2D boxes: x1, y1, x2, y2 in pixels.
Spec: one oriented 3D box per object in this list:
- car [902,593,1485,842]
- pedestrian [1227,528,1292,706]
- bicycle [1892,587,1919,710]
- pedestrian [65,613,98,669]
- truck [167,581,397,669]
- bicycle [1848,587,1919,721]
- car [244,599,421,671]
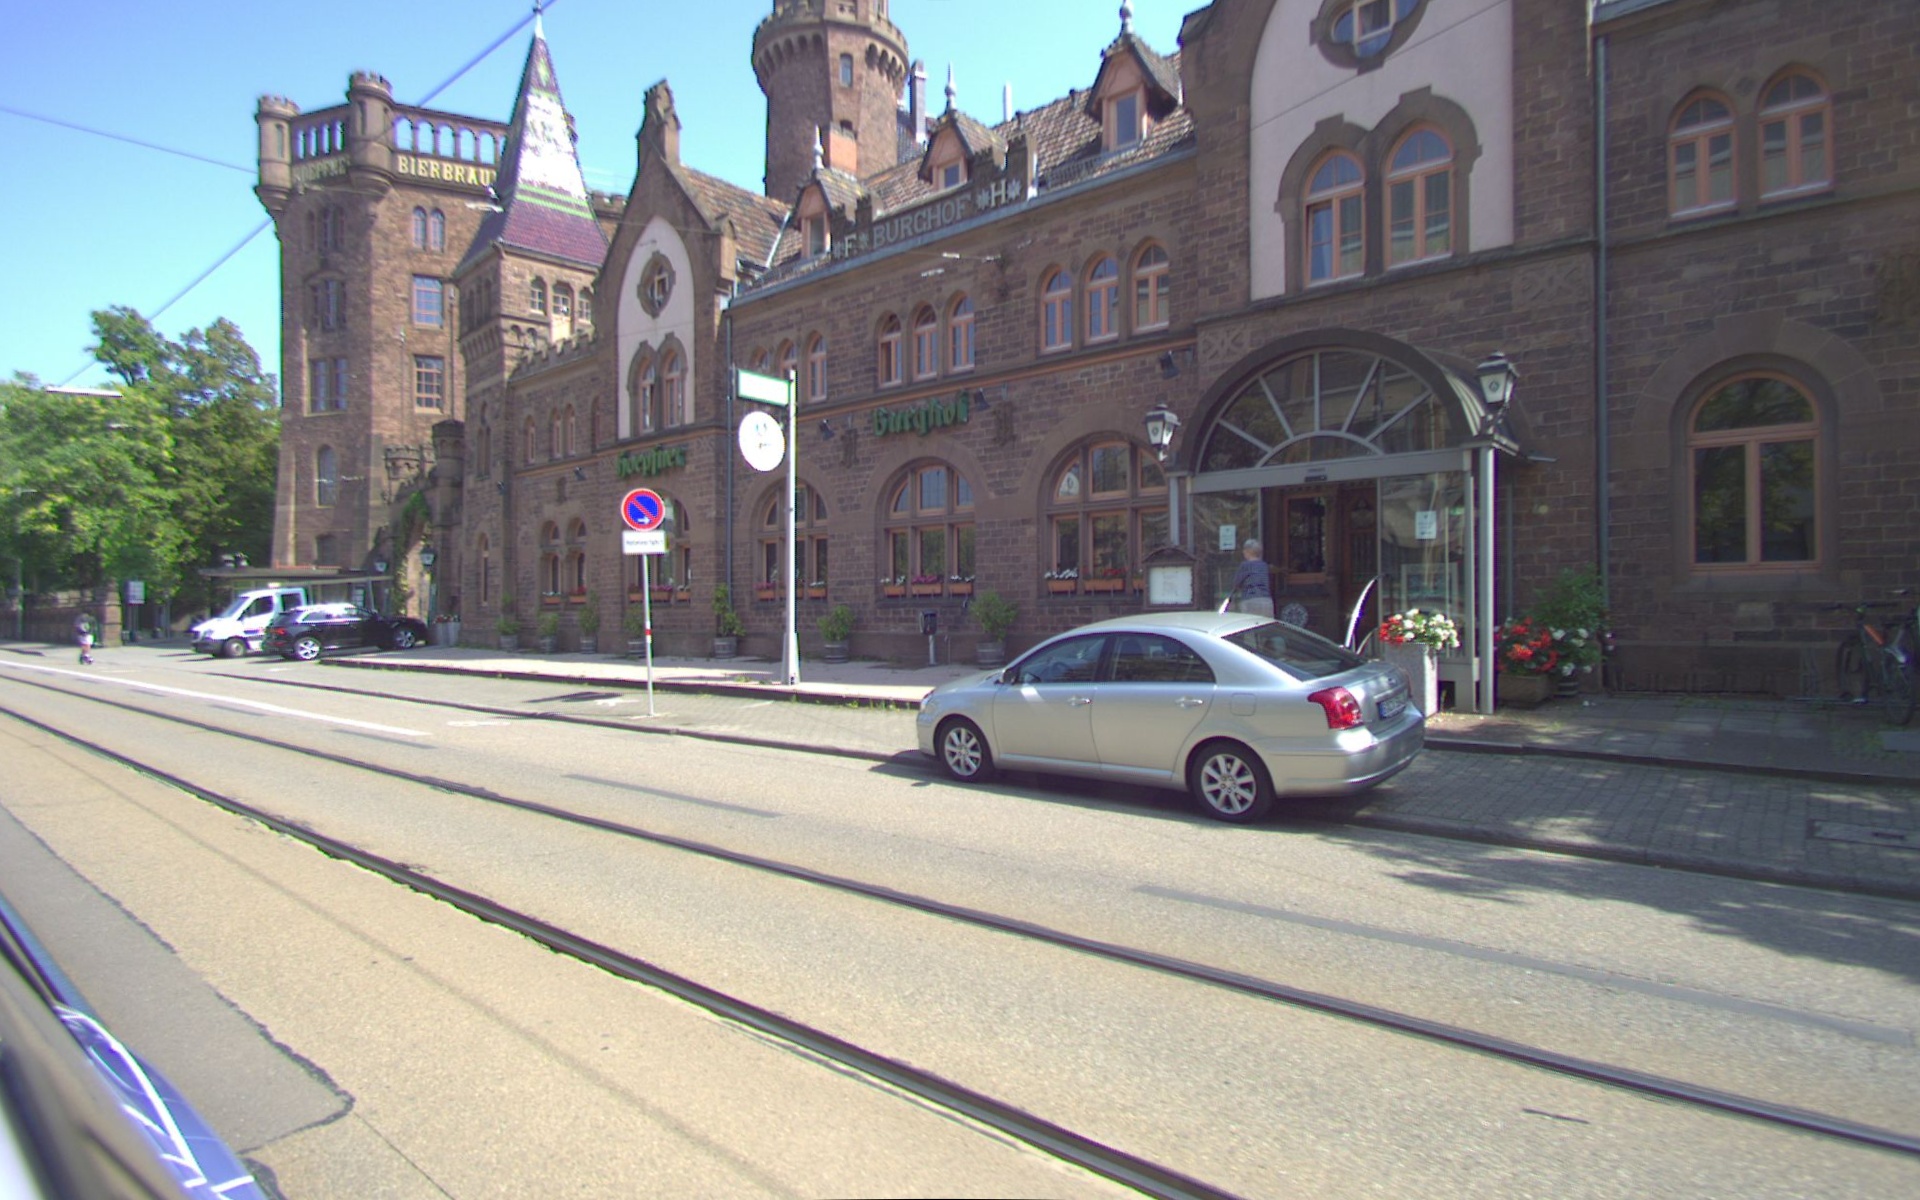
[{"bbox_3d":[1.771,0.788,8.702,4.514,1.513,1.914,-1,1,43],"label":"car"},{"bbox_3d":[3.449,0.189,11.674,0.497,1.995,0.520,-1,0,-15],"label":"pedestrian"},{"bbox_3d":[9.036,0.466,9.306,0.376,1.069,1.435,-1,4,30],"label":"bicycle"},{"bbox_3d":[-29.494,1.363,33.985,0.827,1.862,0.727,-2,-1,41],"label":"pedestrian"},{"bbox_3d":[-24.444,0.815,36.793,2.316,2.543,6.430,-2,3,40],"label":"truck"},{"bbox_3d":[8.753,0.472,9.477,0.376,1.069,1.435,-1,4,30],"label":"bicycle"},{"bbox_3d":[-20.079,1.070,32.530,2.000,1.810,4.351,-2,3,42],"label":"car"}]
